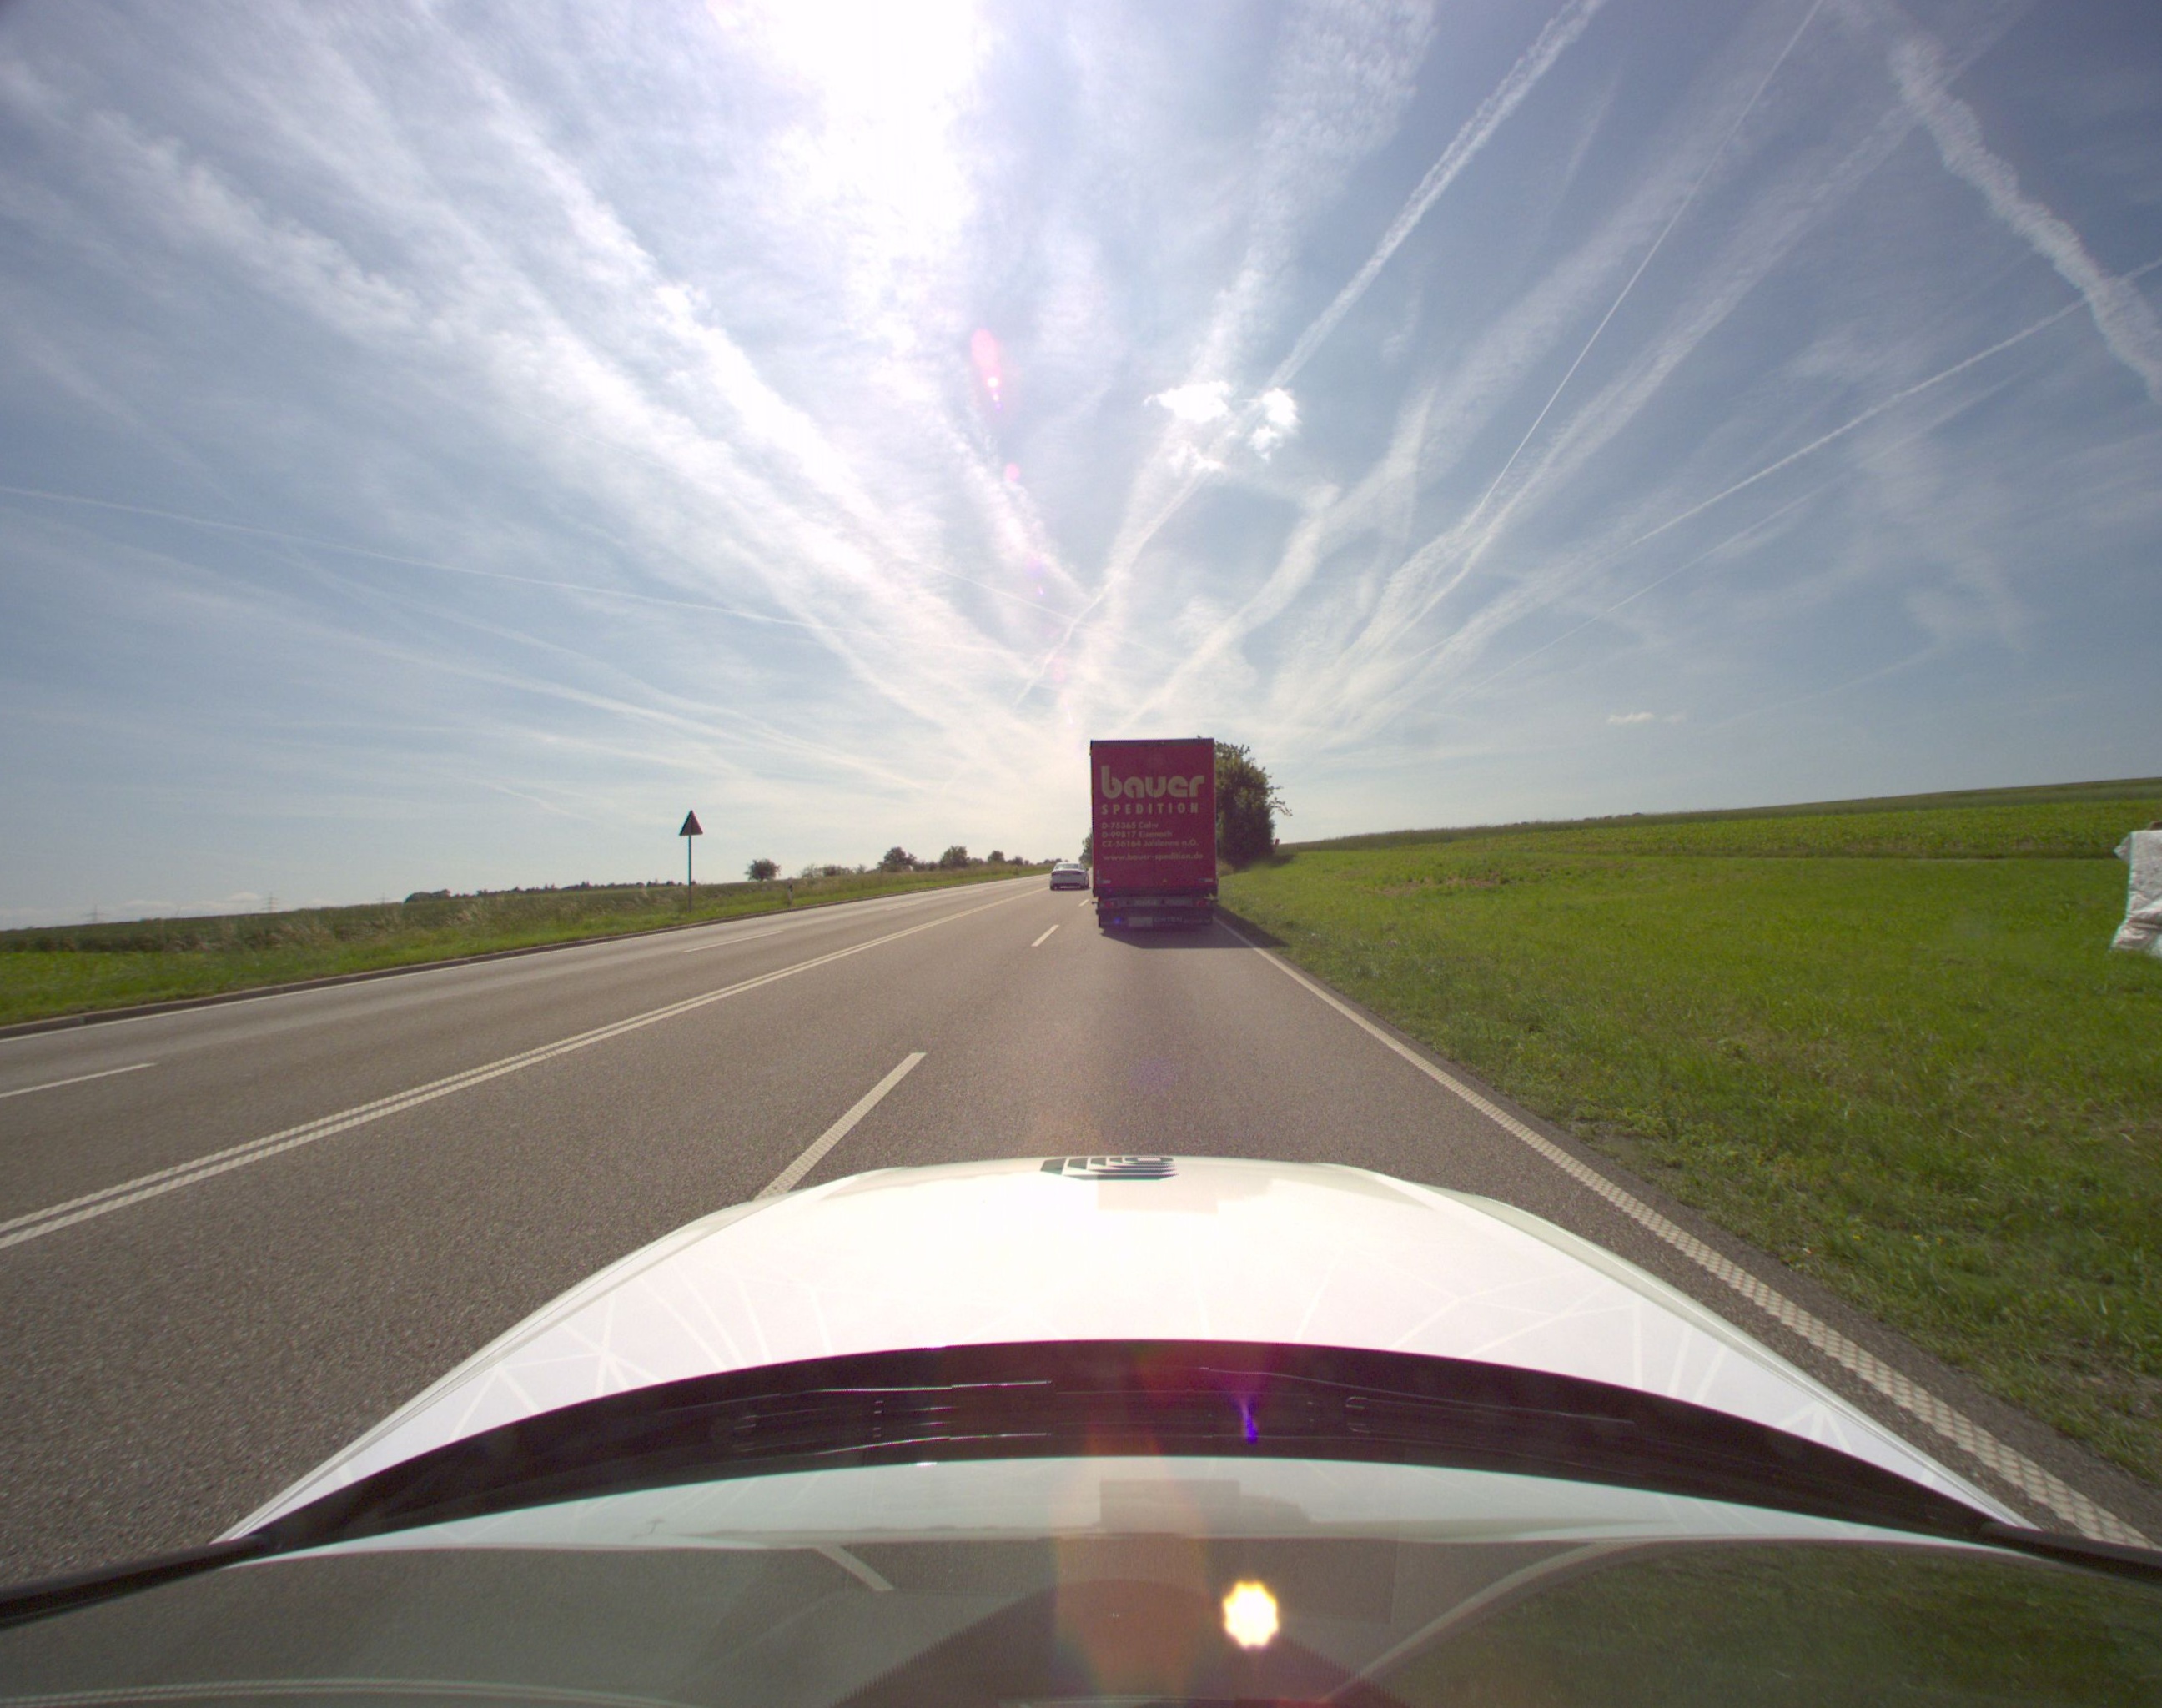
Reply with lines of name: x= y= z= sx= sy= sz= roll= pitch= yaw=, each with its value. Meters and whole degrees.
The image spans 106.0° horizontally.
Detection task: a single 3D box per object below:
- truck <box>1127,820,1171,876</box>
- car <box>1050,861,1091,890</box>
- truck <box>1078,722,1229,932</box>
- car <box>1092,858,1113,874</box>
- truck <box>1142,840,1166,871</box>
truck: x=5.570 y=-0.390 z=65.481 sx=3.032 sy=3.910 sz=15.638 roll=-1 pitch=0 yaw=5
car: x=-0.505 y=1.070 z=42.224 sx=1.695 sy=1.376 sz=4.608 roll=0 pitch=0 yaw=4
truck: x=1.722 y=-0.467 z=24.570 sx=2.995 sy=4.180 sz=16.720 roll=0 pitch=-1 yaw=2
car: x=2.042 y=1.101 z=77.859 sx=1.813 sy=1.472 sz=4.793 roll=0 pitch=0 yaw=4
truck: x=10.334 y=0.245 z=114.027 sx=3.032 sy=3.910 sz=18.427 roll=-1 pitch=0 yaw=6
